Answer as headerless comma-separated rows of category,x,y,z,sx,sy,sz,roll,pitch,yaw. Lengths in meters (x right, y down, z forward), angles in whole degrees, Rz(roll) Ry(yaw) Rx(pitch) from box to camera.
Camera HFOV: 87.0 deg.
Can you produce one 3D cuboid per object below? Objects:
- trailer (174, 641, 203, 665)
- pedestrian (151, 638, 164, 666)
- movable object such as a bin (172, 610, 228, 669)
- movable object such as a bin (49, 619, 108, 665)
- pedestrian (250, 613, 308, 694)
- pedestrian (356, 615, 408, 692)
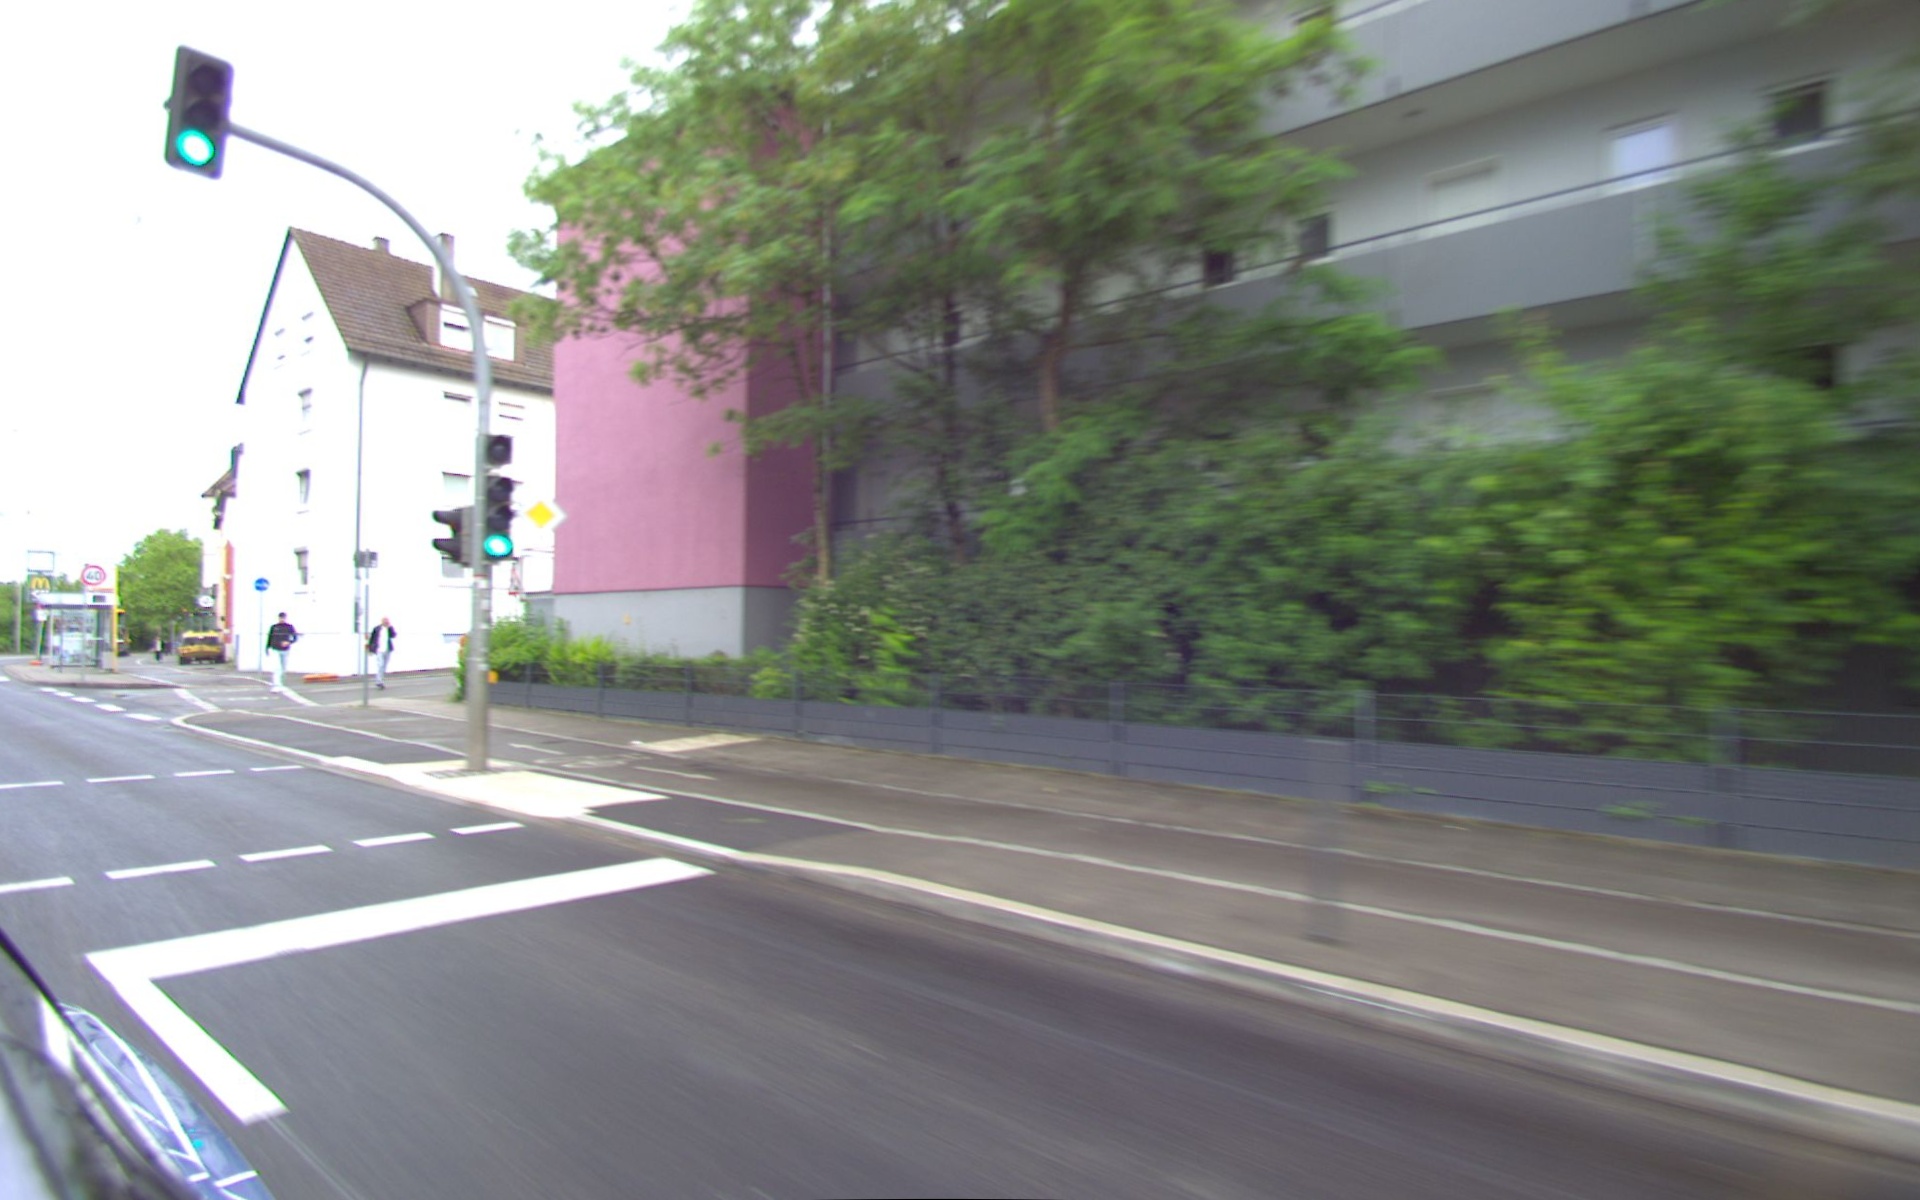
trailer,-46.184,3.168,60.603,1.306,1.410,4.004,1,-3,-37
pedestrian,-46.023,2.979,58.041,0.595,1.540,1.040,0,-3,-39
movable object such as a bin,-38.645,2.021,51.536,2.101,2.828,4.990,-1,-2,-35
movable object such as a bin,-62.897,3.018,72.310,2.787,3.136,4.643,2,-4,-37
pedestrian,-16.304,1.279,24.218,1.043,1.897,0.853,-3,-4,39
pedestrian,-14.326,1.315,25.070,1.115,1.835,0.797,-3,-3,40
